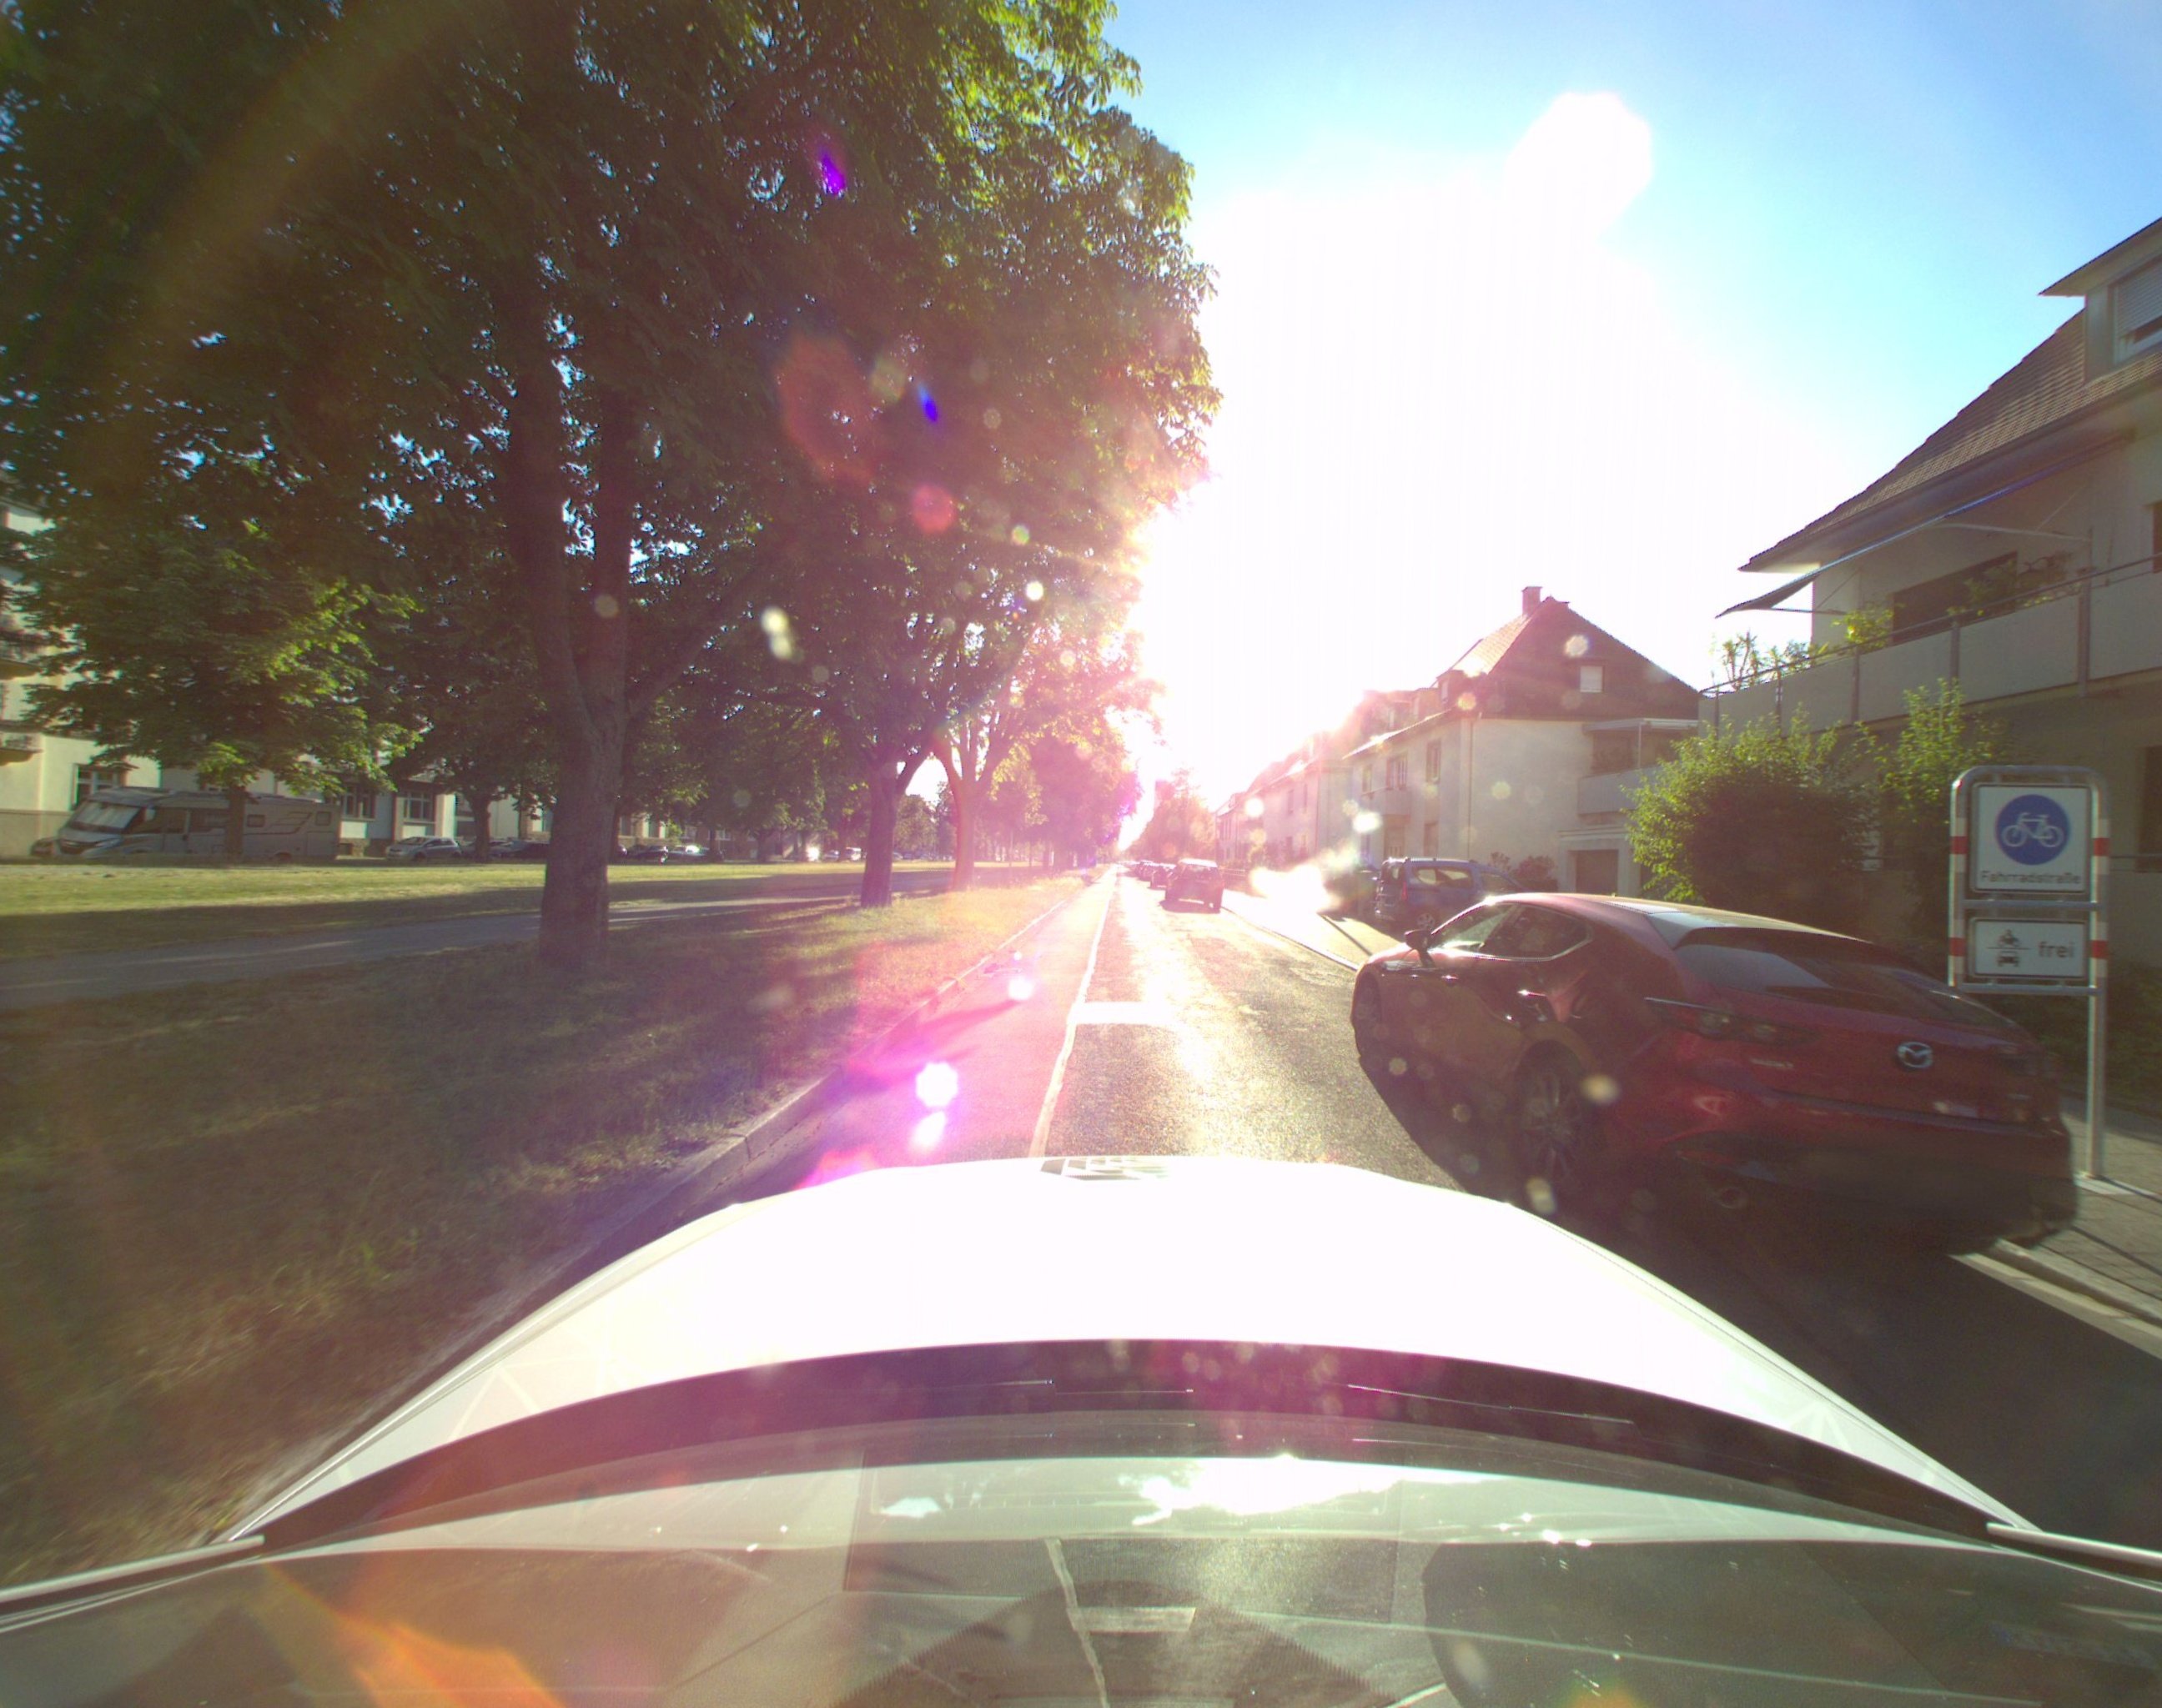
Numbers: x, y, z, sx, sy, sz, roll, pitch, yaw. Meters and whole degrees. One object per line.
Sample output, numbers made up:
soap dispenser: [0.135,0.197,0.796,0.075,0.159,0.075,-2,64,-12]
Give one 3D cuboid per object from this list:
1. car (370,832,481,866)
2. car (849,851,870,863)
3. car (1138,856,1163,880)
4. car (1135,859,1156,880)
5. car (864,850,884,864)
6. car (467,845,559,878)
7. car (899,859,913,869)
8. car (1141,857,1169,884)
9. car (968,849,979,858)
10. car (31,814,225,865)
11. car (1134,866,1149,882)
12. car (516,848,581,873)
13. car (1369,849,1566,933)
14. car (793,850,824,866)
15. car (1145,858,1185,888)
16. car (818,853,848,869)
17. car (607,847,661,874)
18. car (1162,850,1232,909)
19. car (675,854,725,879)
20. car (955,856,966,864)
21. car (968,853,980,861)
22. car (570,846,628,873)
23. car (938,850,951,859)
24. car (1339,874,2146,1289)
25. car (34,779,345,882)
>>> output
car: [-37.521,-0.235,46.836,1.987,1.689,5.158,4,-2,1]
car: [-34.242,0.460,126.026,1.987,1.618,4.000,4,-2,1]
car: [6.308,1.306,74.356,1.986,2.014,4.001,4,-2,2]
car: [6.995,1.719,88.458,1.986,2.014,4.001,4,-2,2]
car: [-29.487,0.476,116.266,1.722,1.690,3.878,4,-3,1]
car: [-31.909,0.460,45.911,1.872,1.674,4.318,4,-1,3]
car: [-32.878,1.842,153.006,1.722,1.762,3.347,4,-2,2]
car: [6.177,1.420,68.384,1.986,2.014,4.001,4,-2,2]
car: [-24.179,-0.094,183.074,1.648,1.939,3.568,4,-3,2]
car: [-37.551,-0.522,32.322,1.985,1.659,4.575,4,-2,4]
car: [8.013,2.696,108.208,1.685,2.014,3.627,4,-2,2]
car: [-36.931,0.449,56.583,1.752,1.583,3.793,4,0,2]
car: [9.366,0.949,19.951,3.976,1.823,1.757,2,-7,-2]
car: [-34.274,0.537,102.444,1.985,1.659,4.359,4,-2,4]
car: [4.940,1.134,48.409,1.986,1.654,4.001,3,-2,2]
car: [-29.471,0.843,96.830,2.014,1.659,3.986,4,-2,3]
car: [-36.621,0.577,66.807,1.987,2.014,4.000,4,-2,1]
car: [4.290,0.910,30.773,1.986,1.903,4.391,5,0,2]
car: [-30.855,1.053,66.075,1.804,1.781,4.125,4,-2,3]
car: [-30.214,1.604,204.859,1.872,1.752,3.799,4,-2,2]
car: [-24.957,0.751,189.967,1.986,1.734,4.002,2,0,2]
car: [-36.696,0.461,62.114,1.857,1.803,3.917,4,-2,2]
car: [-31.672,0.138,189.525,1.986,1.913,4.002,4,-2,2]
car: [3.075,0.878,5.070,1.703,1.359,4.205,4,-2,3]
car: [-32.424,-0.722,30.314,2.383,3.131,7.858,5,-1,3]
